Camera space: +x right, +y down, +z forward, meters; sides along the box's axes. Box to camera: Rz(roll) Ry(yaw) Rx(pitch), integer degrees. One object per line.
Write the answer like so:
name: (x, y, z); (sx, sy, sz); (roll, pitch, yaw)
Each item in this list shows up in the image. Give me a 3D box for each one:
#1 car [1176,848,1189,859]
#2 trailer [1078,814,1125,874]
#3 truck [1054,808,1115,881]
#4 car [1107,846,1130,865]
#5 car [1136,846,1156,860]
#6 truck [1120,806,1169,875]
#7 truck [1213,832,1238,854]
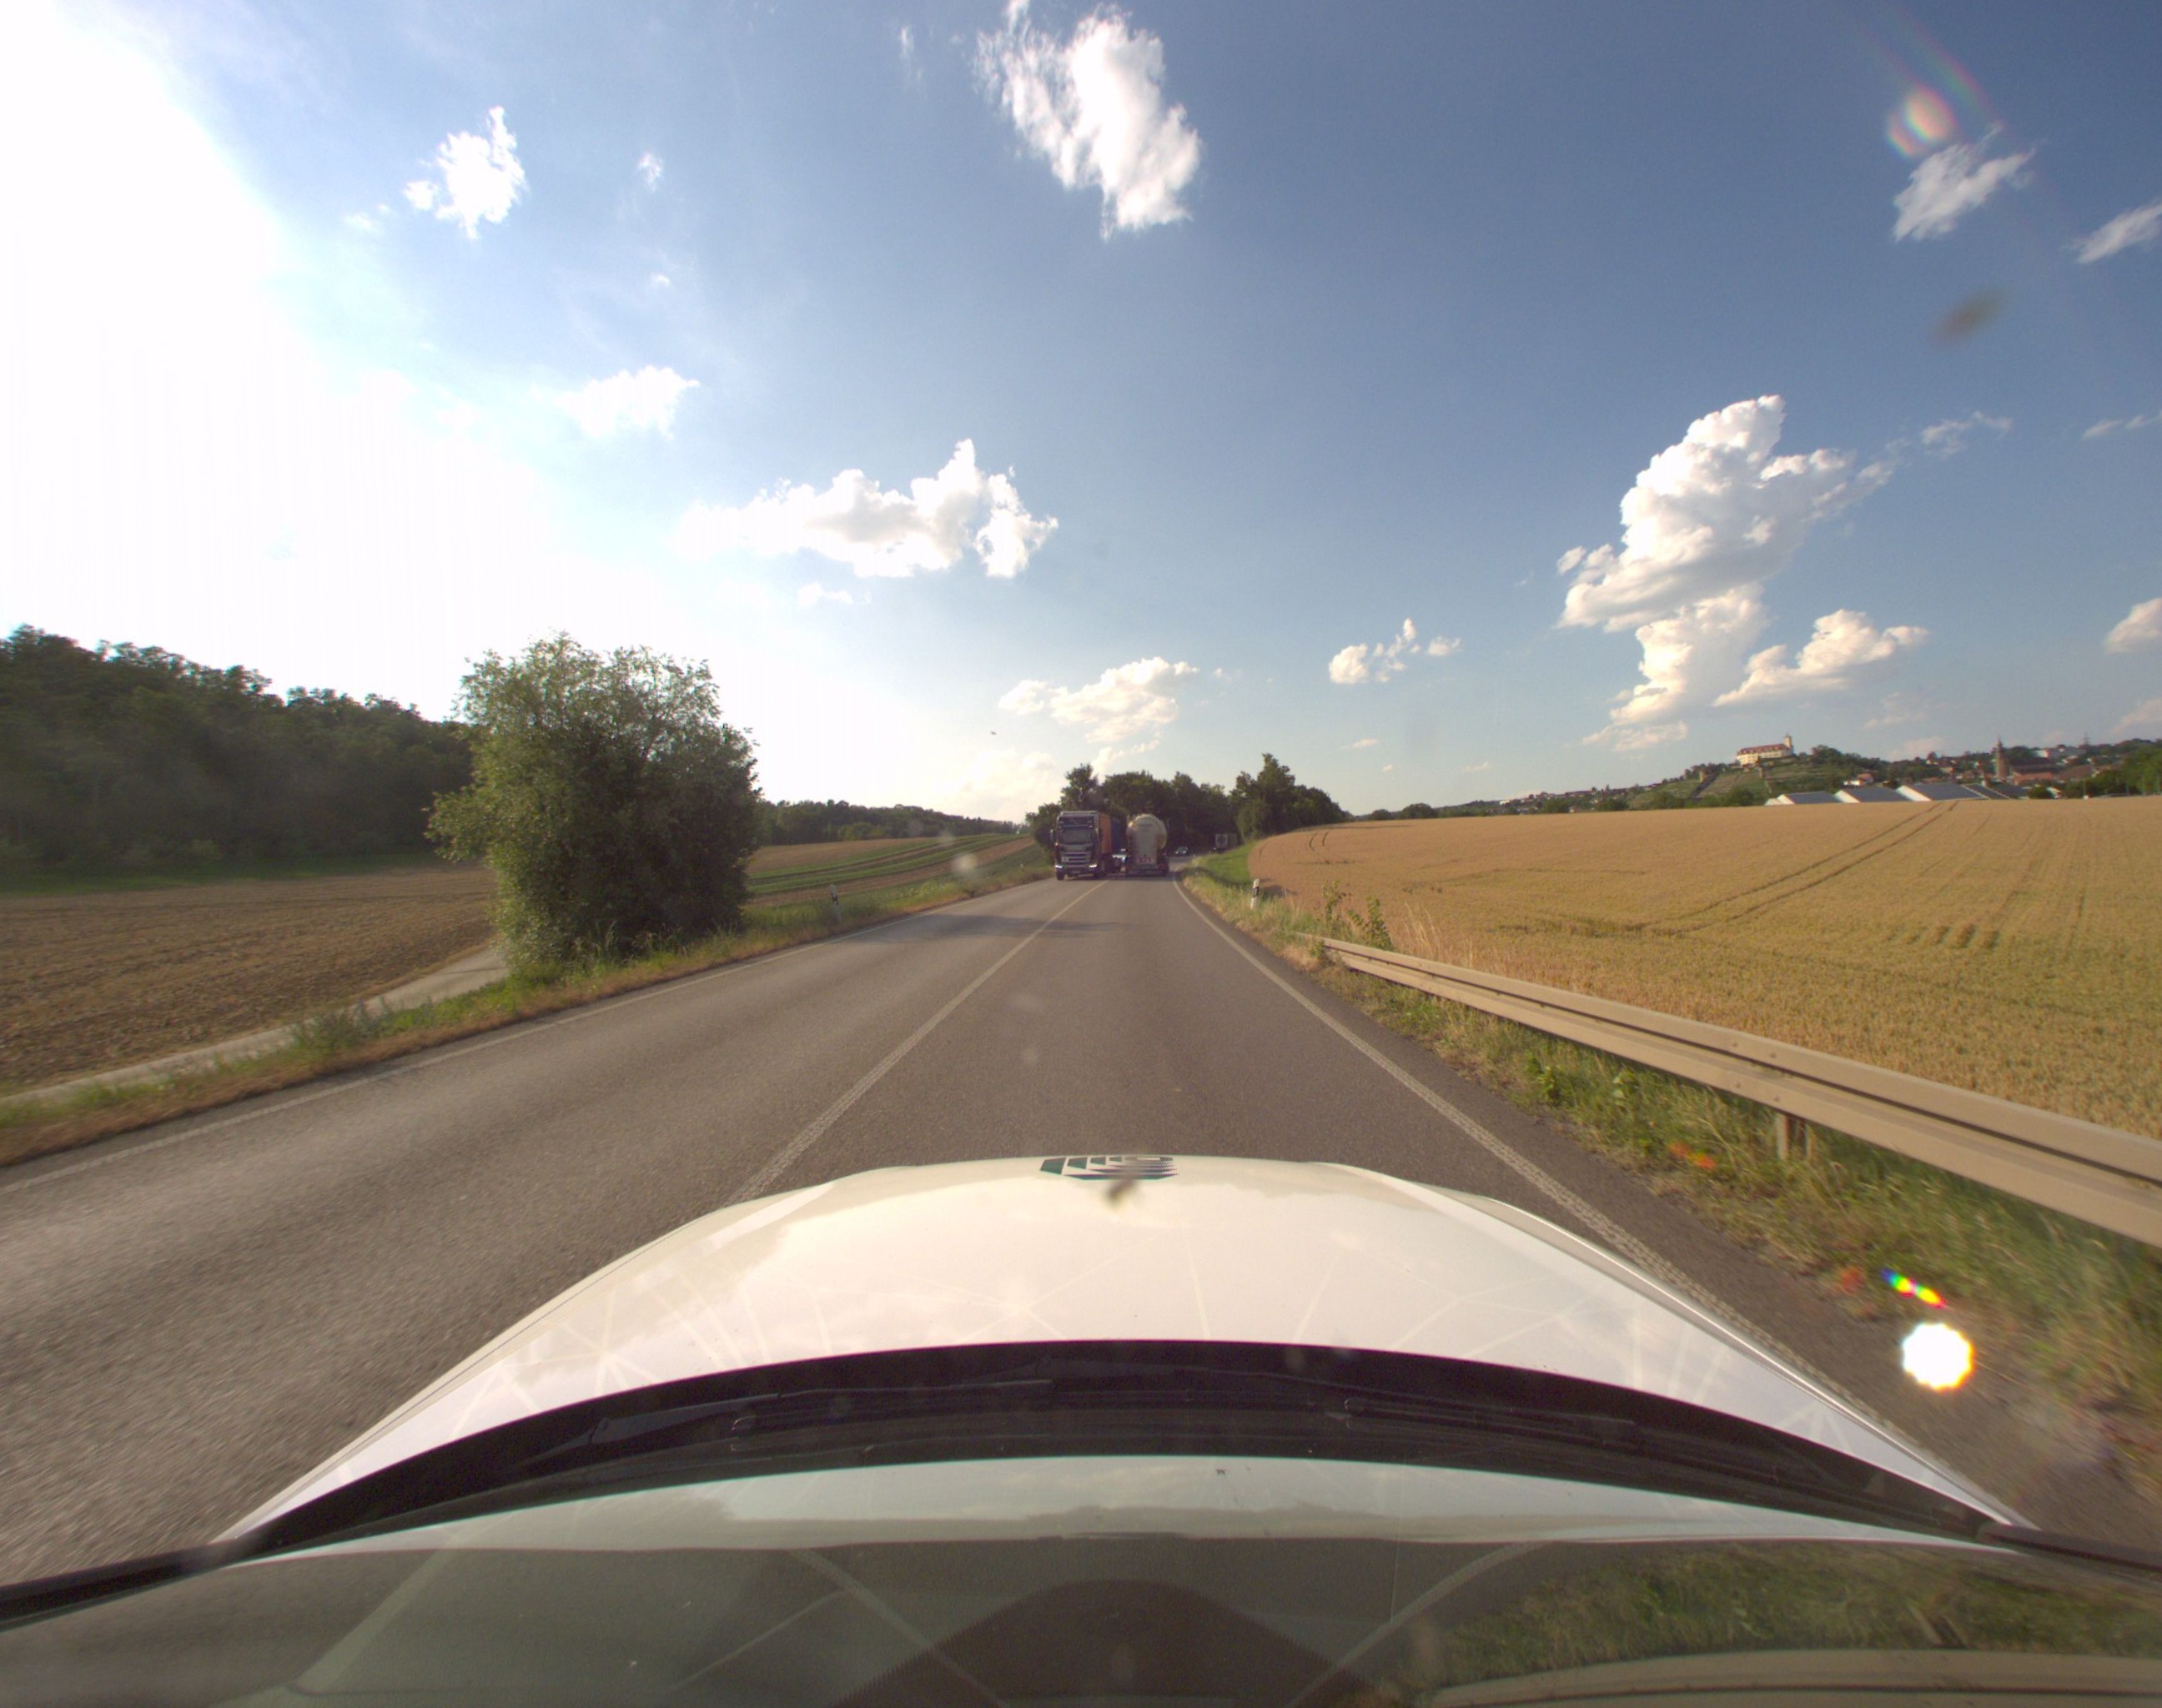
car: (17.560, -0.126, 141.099); (1.888, 1.771, 4.507); (-2, 1, 11)
trailer: (1.634, -0.737, 59.658); (2.351, 3.920, 8.980); (-2, 1, 7)
truck: (0.409, -0.592, 50.148); (2.376, 3.920, 10.181); (-2, 1, 7)
car: (3.642, 0.150, 78.627); (1.965, 1.651, 4.369); (-2, 1, 5)
car: (8.289, -0.112, 103.499); (1.962, 1.651, 4.376); (-2, 1, 11)
truck: (4.552, -0.802, 55.912); (2.878, 4.142, 13.194); (-1, 0, 6)
truck: (29.808, -2.331, 167.819); (3.158, 4.227, 13.233); (-2, 1, 18)
